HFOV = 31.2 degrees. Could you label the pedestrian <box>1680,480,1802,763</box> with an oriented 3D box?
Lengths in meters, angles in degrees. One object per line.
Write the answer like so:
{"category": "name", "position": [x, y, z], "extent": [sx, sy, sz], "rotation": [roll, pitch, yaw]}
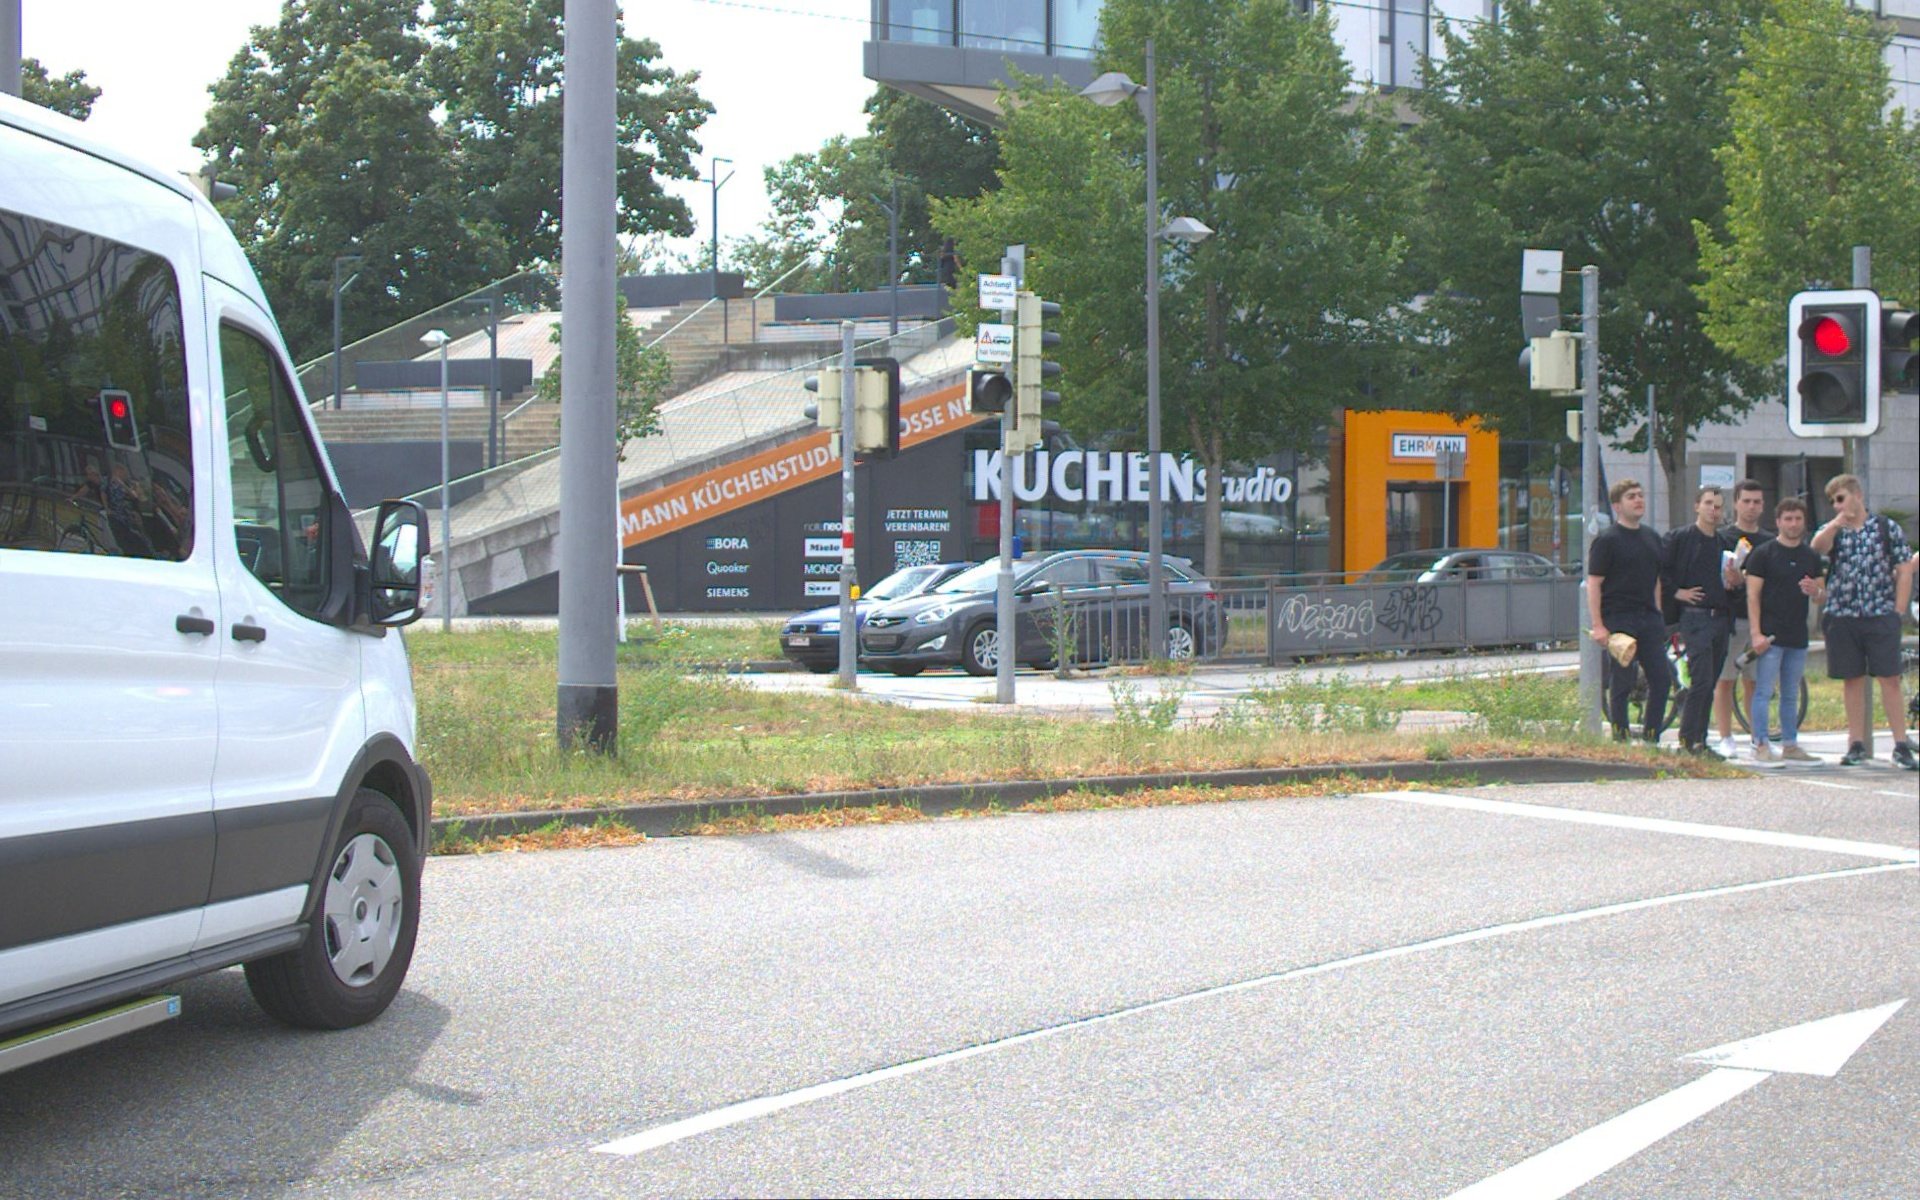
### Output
{"category": "pedestrian", "position": [5.205, 0.131, 22.915], "extent": [0.530, 1.855, 0.553], "rotation": [0, 2, -41]}

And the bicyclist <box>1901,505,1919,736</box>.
{"category": "bicyclist", "position": [6.875, 0.146, 23.373], "extent": [0.558, 1.575, 0.766], "rotation": [0, 1, -18]}

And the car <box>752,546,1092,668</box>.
{"category": "car", "position": [-0.473, 0.065, 43.992], "extent": [3.987, 1.453, 1.849], "rotation": [0, 2, -35]}

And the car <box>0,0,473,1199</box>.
{"category": "car", "position": [-2.969, -0.057, 7.863], "extent": [2.127, 2.688, 5.630], "rotation": [0, 1, 9]}

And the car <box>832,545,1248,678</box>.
{"category": "car", "position": [0.983, 0.107, 40.740], "extent": [4.723, 1.453, 1.849], "rotation": [0, 2, -35]}

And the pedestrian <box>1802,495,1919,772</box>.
{"category": "pedestrian", "position": [5.923, 0.209, 22.466], "extent": [0.579, 1.775, 0.553], "rotation": [0, 2, -41]}

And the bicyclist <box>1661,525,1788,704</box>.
{"category": "bicyclist", "position": [5.726, 0.098, 25.755], "extent": [0.674, 1.312, 0.638], "rotation": [2, 2, 43]}

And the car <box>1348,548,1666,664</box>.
{"category": "car", "position": [7.319, 0.056, 45.889], "extent": [3.987, 1.453, 1.849], "rotation": [0, 2, -34]}

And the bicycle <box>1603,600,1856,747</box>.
{"category": "bicycle", "position": [5.743, 0.532, 25.733], "extent": [1.755, 1.003, 0.652], "rotation": [2, 2, 45]}

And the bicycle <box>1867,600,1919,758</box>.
{"category": "bicycle", "position": [6.881, 0.555, 23.327], "extent": [0.547, 1.054, 1.714], "rotation": [0, 1, -18]}

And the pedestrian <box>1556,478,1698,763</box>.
{"category": "pedestrian", "position": [4.236, 0.121, 21.838], "extent": [0.688, 1.775, 0.553], "rotation": [0, 2, -41]}

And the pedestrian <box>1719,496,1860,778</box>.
{"category": "pedestrian", "position": [5.335, 0.225, 22.101], "extent": [0.688, 1.775, 0.553], "rotation": [0, 2, -41]}

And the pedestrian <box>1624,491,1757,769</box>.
{"category": "pedestrian", "position": [4.770, 0.183, 22.447], "extent": [0.631, 1.775, 0.553], "rotation": [0, 2, -41]}
